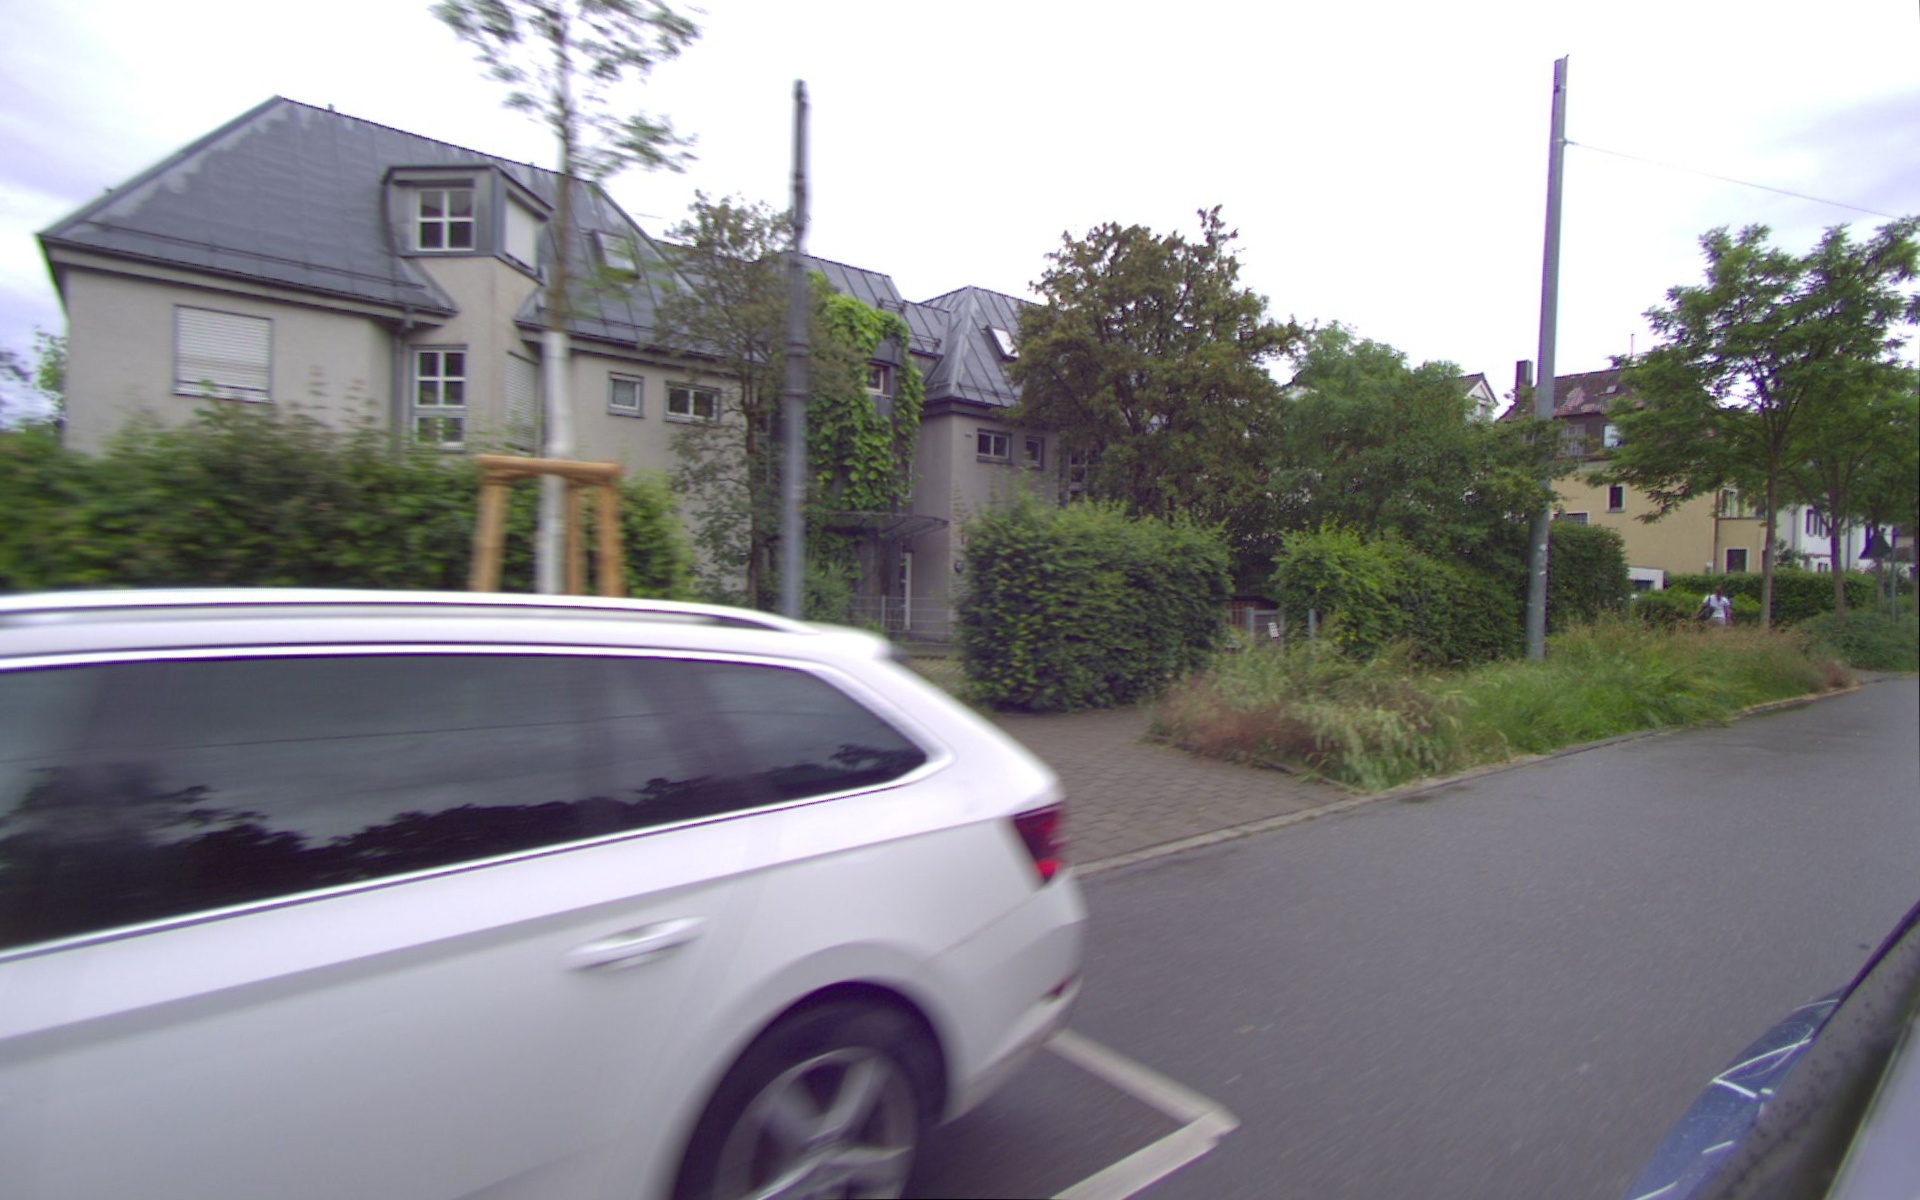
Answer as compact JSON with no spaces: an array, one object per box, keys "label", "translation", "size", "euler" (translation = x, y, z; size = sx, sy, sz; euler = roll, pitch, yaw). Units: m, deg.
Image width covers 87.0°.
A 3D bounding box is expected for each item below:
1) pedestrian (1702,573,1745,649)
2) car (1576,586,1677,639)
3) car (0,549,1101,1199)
[{"label":"pedestrian","translation":[18.062,0.235,23.941],"size":[0.701,1.753,0.635],"euler":[-2,2,-37]},{"label":"car","translation":[19.203,0.332,29.116],"size":[3.413,1.437,1.473],"euler":[0,0,-39]},{"label":"car","translation":[-1.925,0.682,1.732],"size":[4.468,1.493,1.799],"euler":[0,0,-40]}]
